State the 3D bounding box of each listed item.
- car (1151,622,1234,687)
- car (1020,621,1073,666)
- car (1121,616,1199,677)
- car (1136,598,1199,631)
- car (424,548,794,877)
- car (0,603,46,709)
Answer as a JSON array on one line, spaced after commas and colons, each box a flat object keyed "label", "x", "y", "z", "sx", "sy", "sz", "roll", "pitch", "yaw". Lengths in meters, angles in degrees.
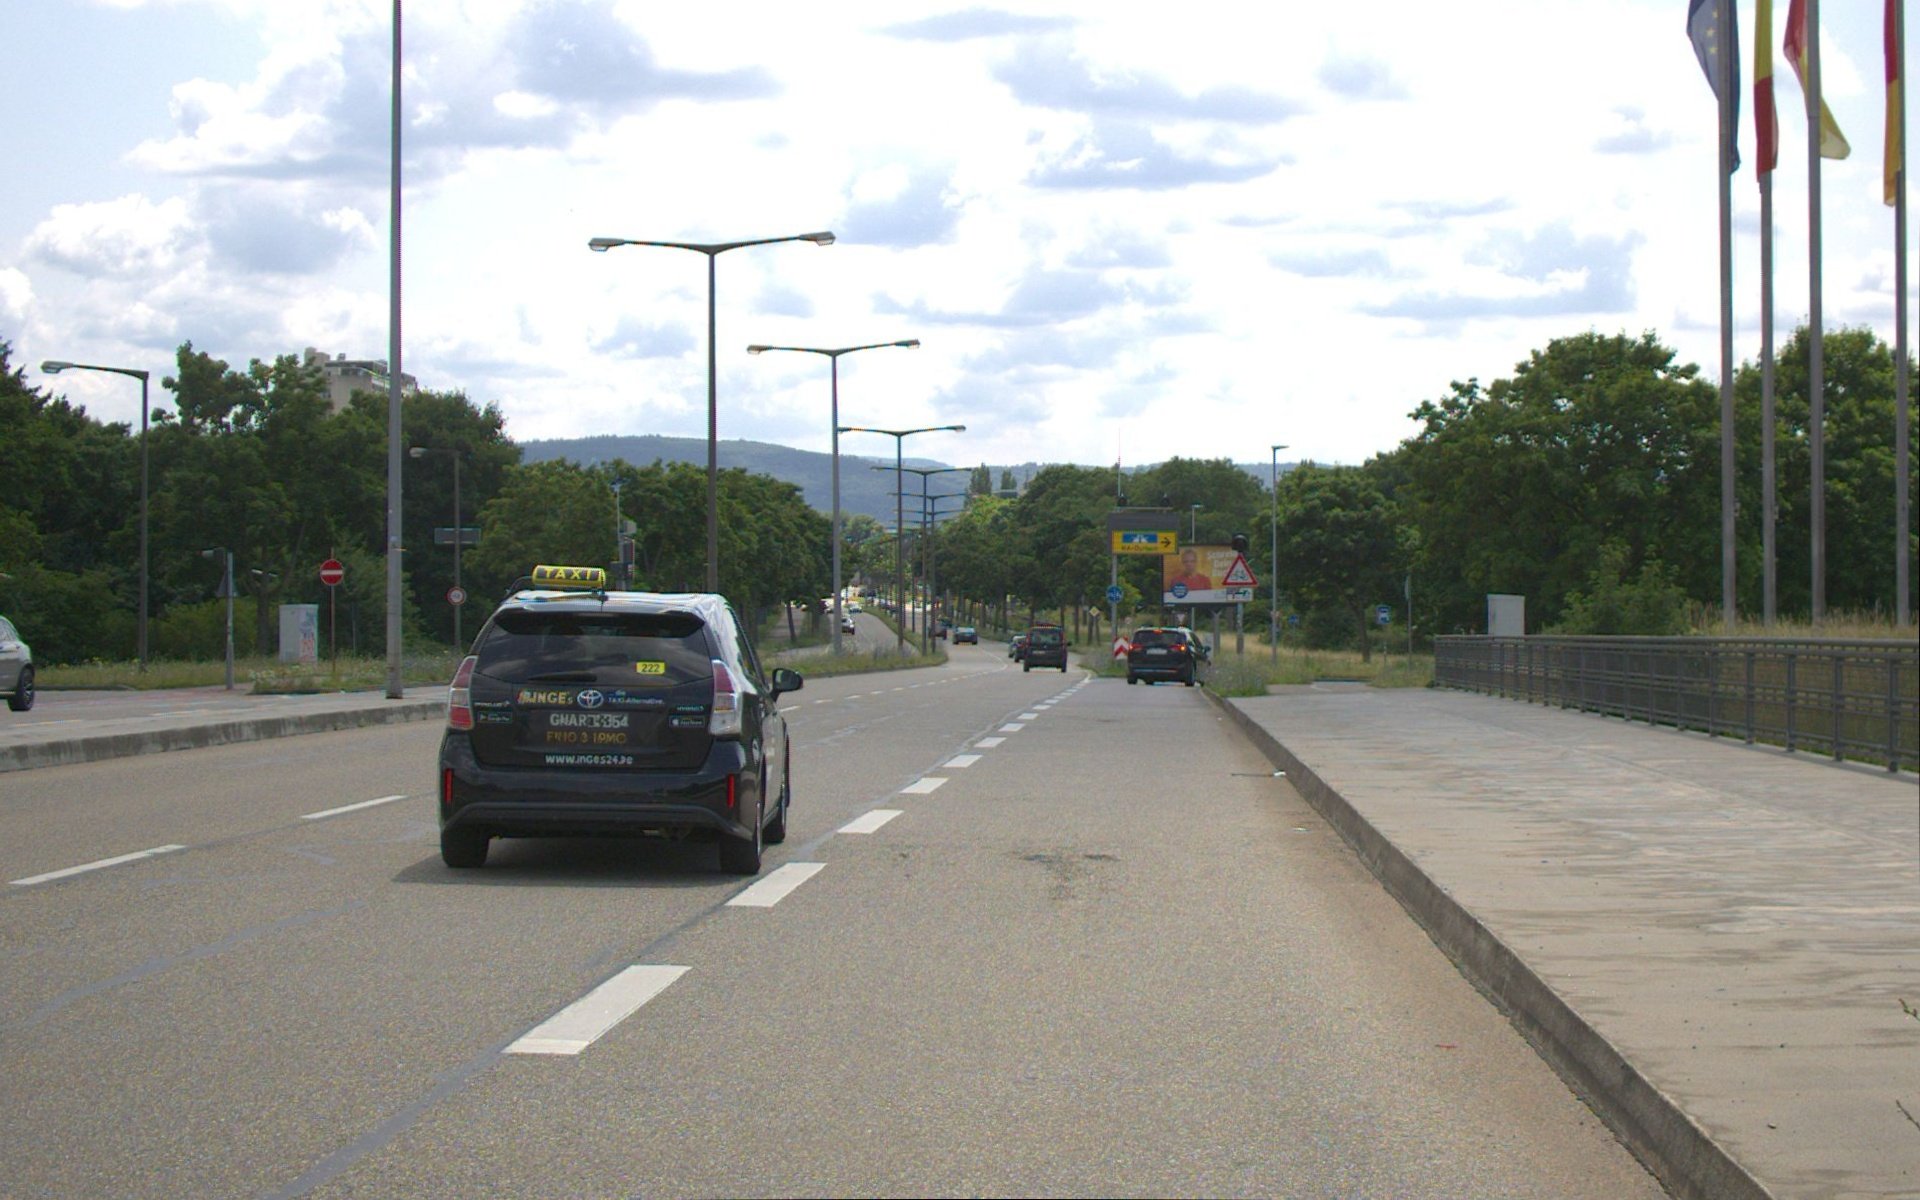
[{"label": "car", "x": 6.571, "y": 1.534, "z": 97.714, "sx": 1.993, "sy": 1.656, "sz": 4.000, "roll": 2, "pitch": 1, "yaw": -1}, {"label": "car", "x": 3.526, "y": 1.774, "z": 140.943, "sx": 1.993, "sy": 1.656, "sz": 4.000, "roll": 2, "pitch": 1, "yaw": -1}, {"label": "car", "x": 5.979, "y": 1.387, "z": 103.070, "sx": 1.993, "sy": 1.656, "sz": 4.000, "roll": 2, "pitch": 1, "yaw": -1}, {"label": "car", "x": 11.325, "y": 0.763, "z": 188.229, "sx": 1.993, "sy": 1.656, "sz": 4.001, "roll": 1, "pitch": 1, "yaw": -20}, {"label": "car", "x": -1.942, "y": 0.562, "z": 20.067, "sx": 1.779, "sy": 1.678, "sz": 4.000, "roll": 2, "pitch": 1, "yaw": -1}, {"label": "car", "x": -16.357, "y": 0.890, "z": 55.107, "sx": 2.088, "sy": 1.621, "sz": 4.550, "roll": 2, "pitch": 1, "yaw": 1}]
